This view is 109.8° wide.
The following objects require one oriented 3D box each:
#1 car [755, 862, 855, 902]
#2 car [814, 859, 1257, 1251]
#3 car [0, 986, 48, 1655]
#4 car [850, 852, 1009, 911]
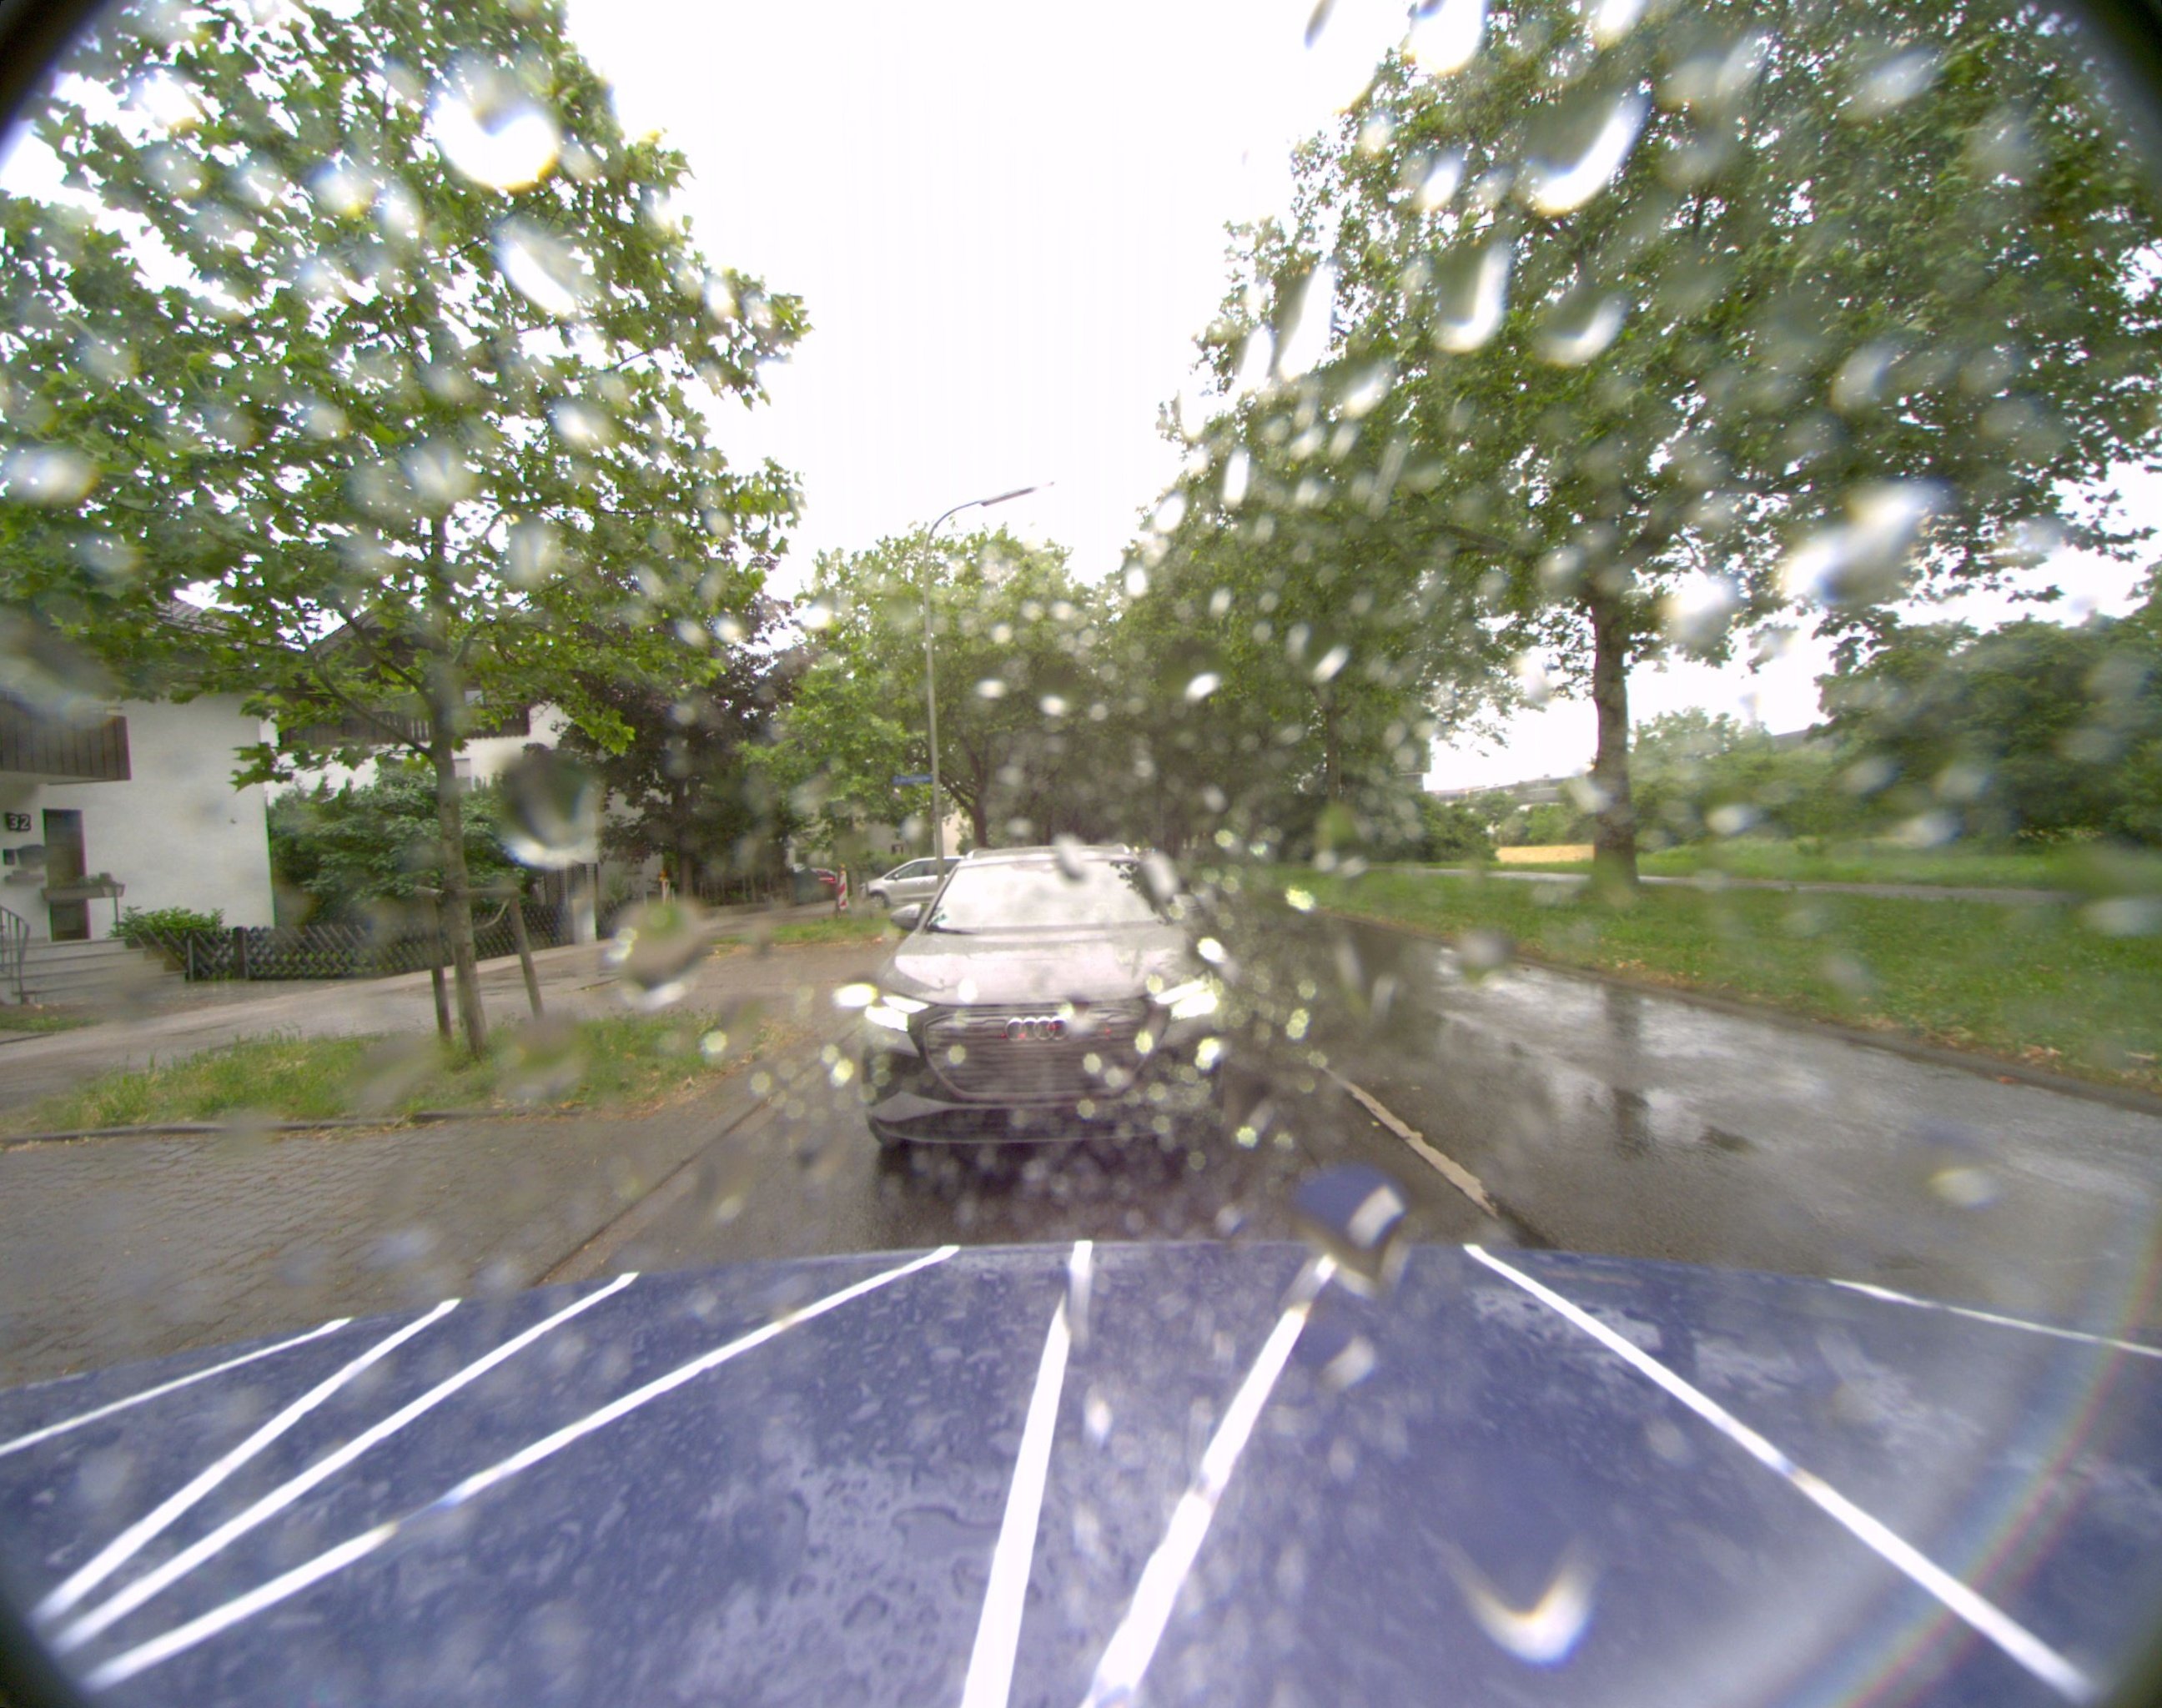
[{"bbox_3d":[-12.629,1.264,34.906,3.853,1.603,1.843,-3,0,2],"label":"car"},{"bbox_3d":[-0.162,0.895,5.522,1.862,1.608,4.423,-3,0,1],"label":"car"},{"bbox_3d":[-4.735,1.127,0.613,4.779,1.464,1.937,-2,0,-4],"label":"car"},{"bbox_3d":[-4.825,0.854,24.747,4.701,1.651,1.976,-3,0,-1],"label":"car"}]
